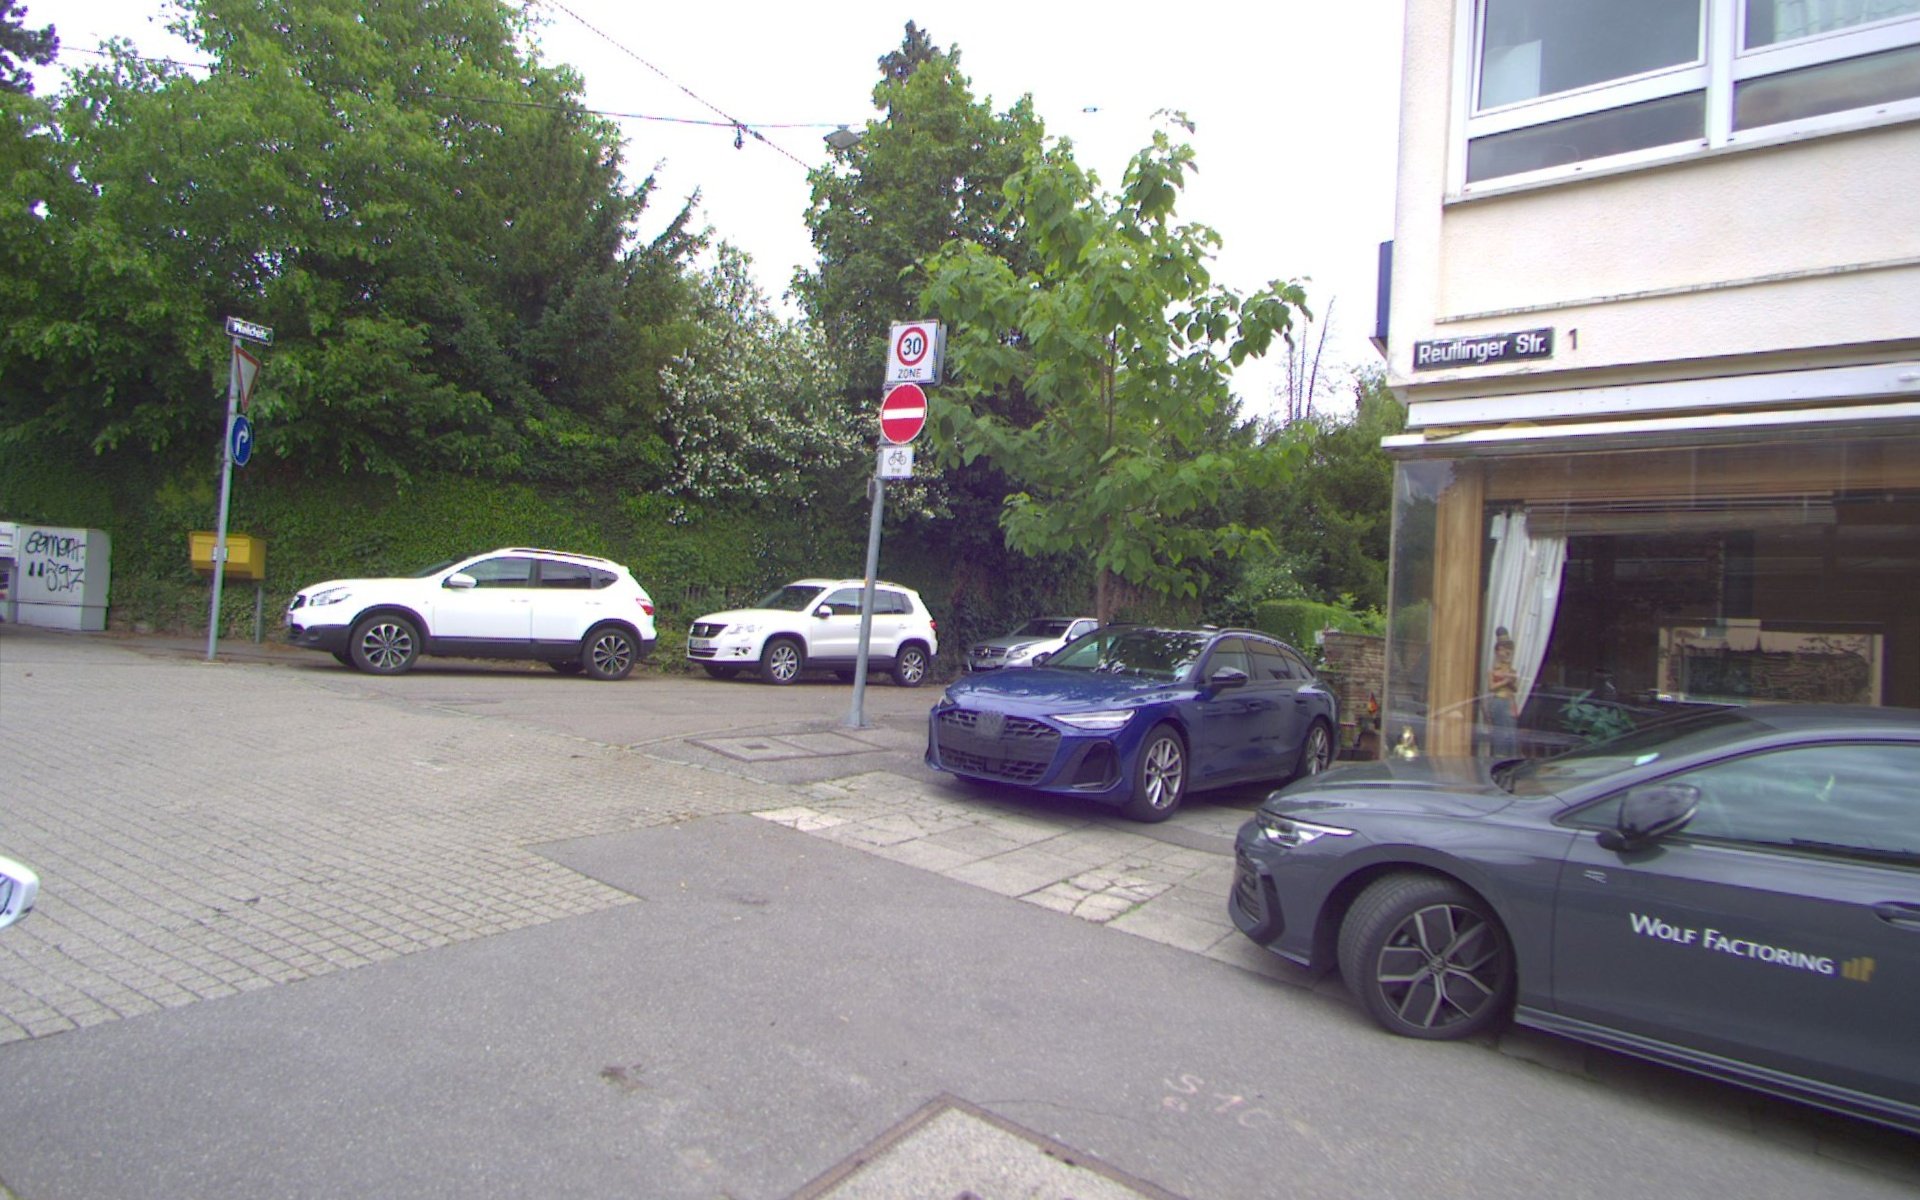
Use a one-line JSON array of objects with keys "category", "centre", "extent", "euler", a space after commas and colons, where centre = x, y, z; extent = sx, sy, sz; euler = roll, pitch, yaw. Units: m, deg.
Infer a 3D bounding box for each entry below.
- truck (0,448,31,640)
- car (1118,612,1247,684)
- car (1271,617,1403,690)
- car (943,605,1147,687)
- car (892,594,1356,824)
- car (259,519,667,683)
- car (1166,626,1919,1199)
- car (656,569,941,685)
[{"category": "truck", "centre": [-14.105, -0.869, 12.150], "extent": [5.778, 2.221, 2.189], "euler": [4, -1, 26]}, {"category": "car", "centre": [5.606, 1.219, 25.276], "extent": [1.843, 1.550, 2.904], "euler": [5, 0, 43]}, {"category": "car", "centre": [12.031, 1.718, 32.010], "extent": [3.970, 1.727, 1.980], "euler": [10, -3, -37]}, {"category": "car", "centre": [1.830, 0.988, 20.517], "extent": [1.975, 1.462, 4.274], "euler": [-1, -5, 42]}, {"category": "car", "centre": [1.669, 0.834, 8.656], "extent": [1.811, 1.343, 4.489], "euler": [5, 0, 40]}, {"category": "car", "centre": [-6.196, 0.112, 12.810], "extent": [4.222, 1.612, 1.967], "euler": [6, -3, -41]}, {"category": "car", "centre": [3.220, 1.081, 3.812], "extent": [4.312, 1.492, 1.849], "euler": [6, 2, 31]}, {"category": "car", "centre": [-2.463, 0.480, 16.022], "extent": [1.974, 1.485, 4.050], "euler": [5, 0, 43]}]
